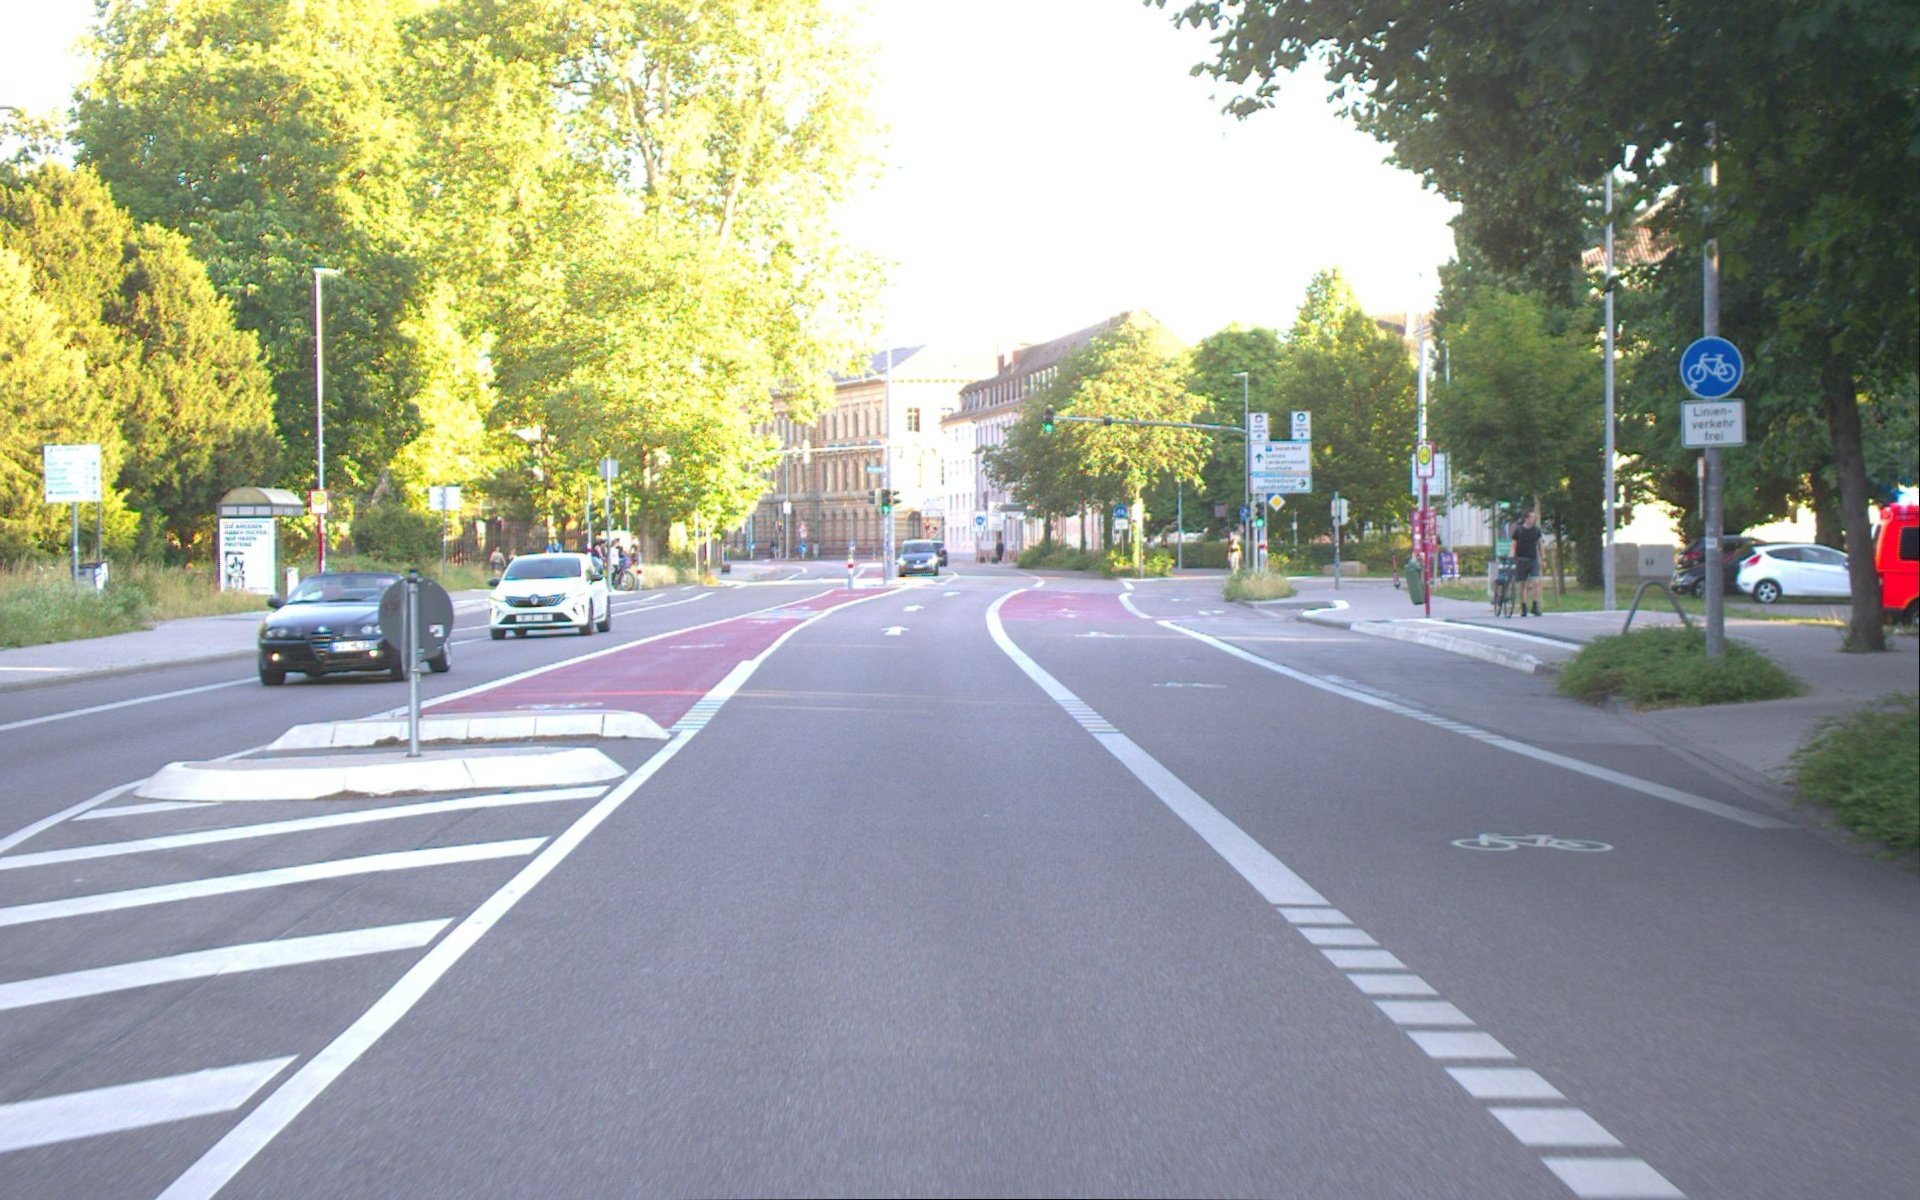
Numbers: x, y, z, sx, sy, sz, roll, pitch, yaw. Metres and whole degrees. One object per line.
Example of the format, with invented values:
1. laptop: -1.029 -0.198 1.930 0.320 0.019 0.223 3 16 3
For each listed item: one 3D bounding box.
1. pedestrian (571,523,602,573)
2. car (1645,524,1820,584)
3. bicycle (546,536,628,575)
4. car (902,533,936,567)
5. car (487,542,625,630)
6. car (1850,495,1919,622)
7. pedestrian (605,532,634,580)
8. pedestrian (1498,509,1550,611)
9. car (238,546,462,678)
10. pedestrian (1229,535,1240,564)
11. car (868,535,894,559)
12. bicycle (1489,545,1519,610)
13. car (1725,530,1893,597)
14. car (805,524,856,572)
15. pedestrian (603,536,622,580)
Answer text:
1. pedestrian: -11.794 -1.641 108.648 0.791 1.575 0.745 1 1 8
2. car: 20.798 -1.237 92.697 4.460 1.585 1.715 0 1 7
3. bicycle: -11.794 -1.411 108.619 2.463 1.191 0.757 0 1 9
4. car: -1.849 -2.252 154.530 1.493 1.481 3.491 0 1 0
5. car: -6.998 -0.271 59.876 1.798 1.448 4.127 0 1 2
6. car: 16.750 -0.677 54.458 4.912 1.983 1.921 0 1 7
7. pedestrian: -11.431 -1.477 115.544 0.791 1.575 0.745 1 1 8
8. pedestrian: 9.732 -0.694 59.320 0.769 1.734 0.731 0 1 0
9. car: -7.116 0.105 40.488 1.798 1.448 4.127 0 1 2
10. pedestrian: 11.470 -2.105 143.576 0.390 1.234 0.404 0 1 0
11. car: -4.798 -3.239 209.851 1.493 1.481 3.491 0 1 0
12. bicycle: 9.369 -0.401 59.280 0.299 1.096 1.521 0 1 1
13. car: 20.520 -0.887 83.207 3.774 1.585 1.715 0 1 7
14. car: -4.116 -1.659 109.513 1.493 1.481 3.491 0 1 0
15. pedestrian: -11.469 -1.377 113.397 0.579 1.425 0.560 1 1 -9
